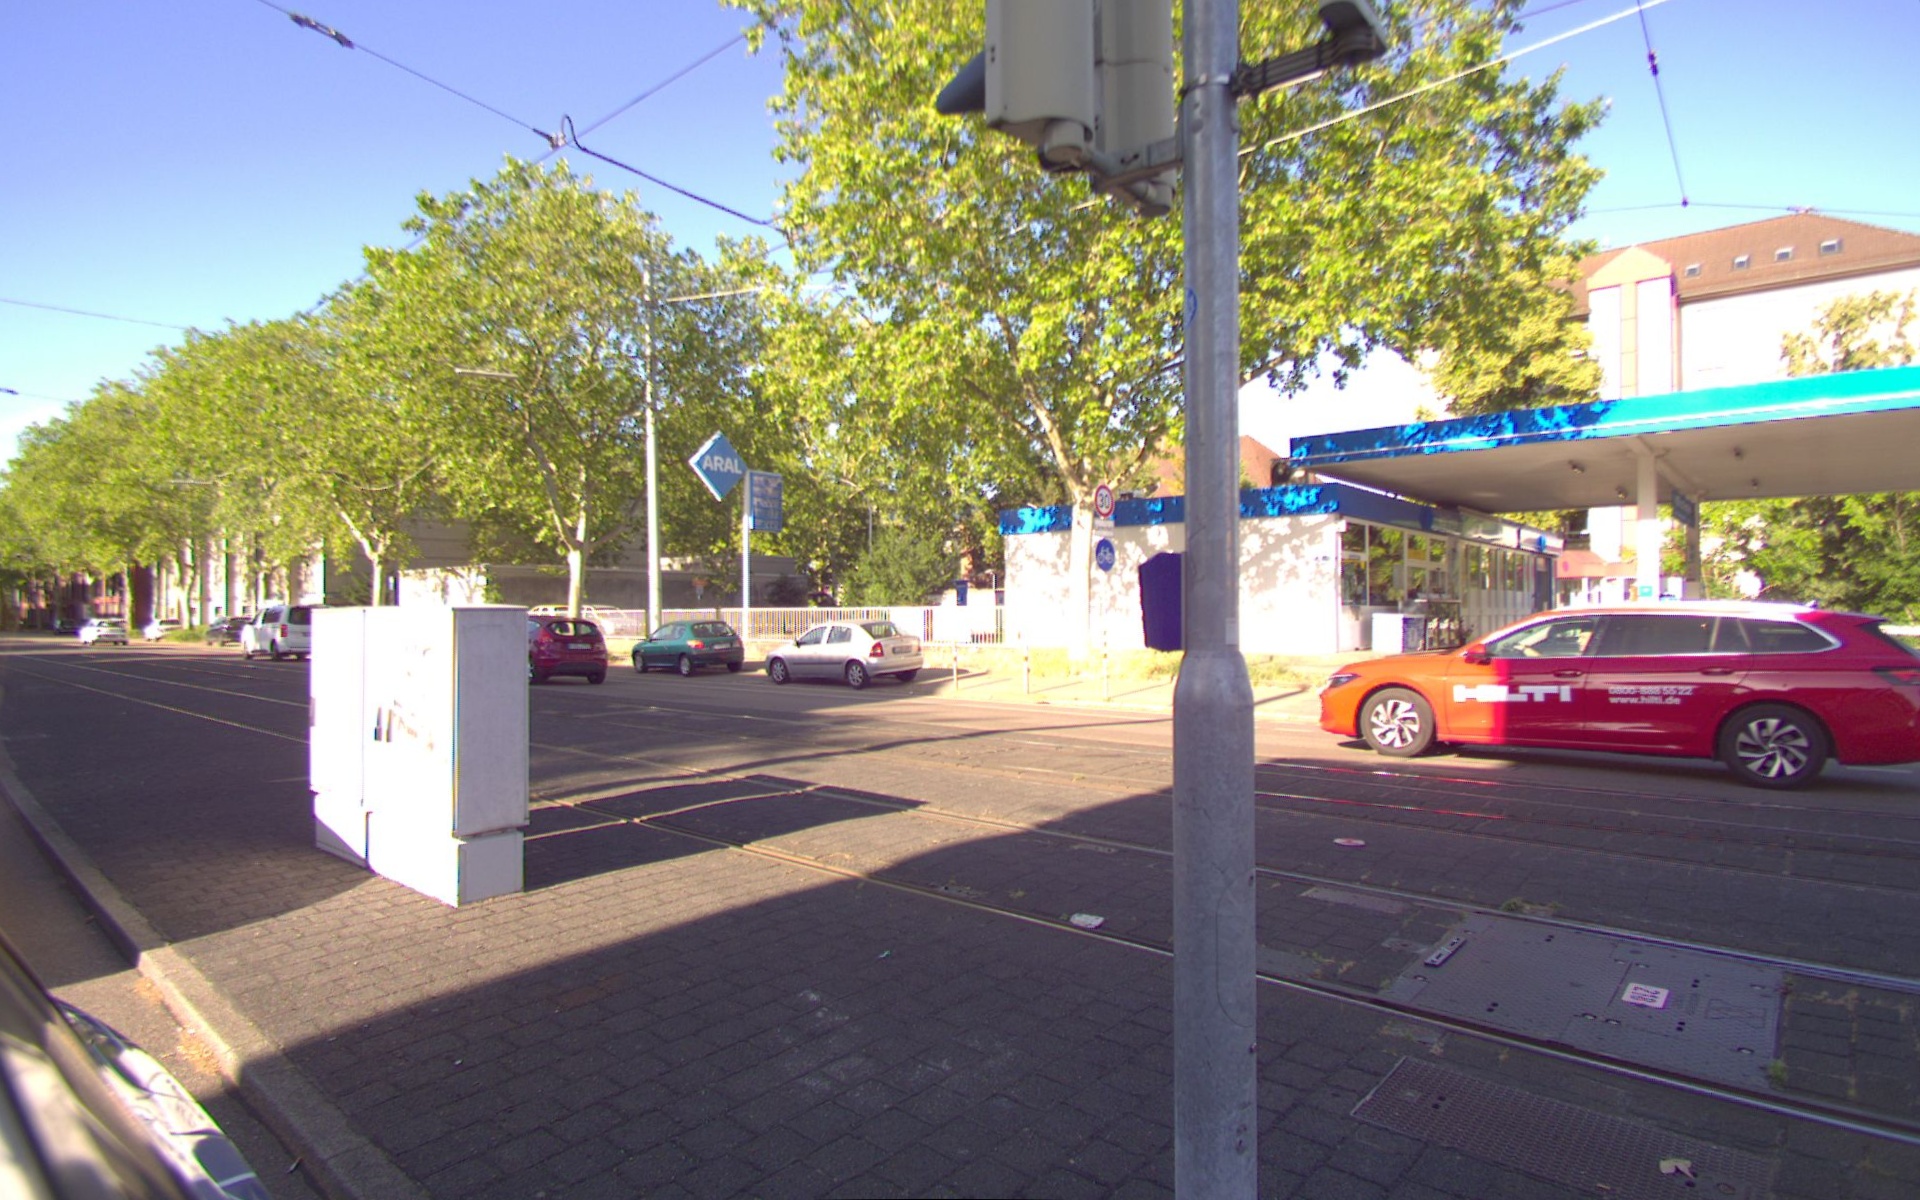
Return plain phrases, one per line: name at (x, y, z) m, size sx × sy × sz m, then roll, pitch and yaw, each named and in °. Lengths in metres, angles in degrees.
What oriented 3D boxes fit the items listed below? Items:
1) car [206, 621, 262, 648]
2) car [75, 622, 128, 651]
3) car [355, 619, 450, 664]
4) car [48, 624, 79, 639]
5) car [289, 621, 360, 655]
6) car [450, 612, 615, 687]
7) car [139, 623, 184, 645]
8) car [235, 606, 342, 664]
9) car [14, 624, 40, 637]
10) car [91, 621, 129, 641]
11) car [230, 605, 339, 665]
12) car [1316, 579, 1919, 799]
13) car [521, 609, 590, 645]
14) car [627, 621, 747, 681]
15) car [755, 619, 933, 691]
car at (-40.602, 1.891, 56.578) m, size 3.998 × 1.420 × 1.678 m, roll -1°, pitch -2°, yaw 41°
car at (-48.969, 2.055, 57.702) m, size 3.998 × 1.507 × 1.741 m, roll -1°, pitch 0°, yaw 41°
car at (-22.153, 1.595, 40.169) m, size 4.431 × 1.534 × 1.731 m, roll -1°, pitch 3°, yaw 40°
car at (-85.183, 2.978, 96.167) m, size 3.998 × 1.420 × 1.678 m, roll -1°, pitch -2°, yaw 41°
car at (-29.044, 1.703, 46.197) m, size 3.998 × 1.480 × 1.678 m, roll -1°, pitch -2°, yaw 41°
car at (-9.460, 1.063, 22.277) m, size 3.998 × 1.431 × 1.678 m, roll -1°, pitch -6°, yaw 41°
car at (-53.811, 2.294, 68.202) m, size 3.998 × 1.420 × 1.678 m, roll -1°, pitch -2°, yaw 41°
car at (-23.072, 1.175, 34.732) m, size 4.390 × 1.860 × 1.827 m, roll -1°, pitch -2°, yaw 39°
car at (-103.230, 3.394, 111.976) m, size 3.998 × 1.420 × 1.678 m, roll -1°, pitch -2°, yaw 41°
car at (-66.813, 2.418, 79.550) m, size 3.998 × 1.569 × 1.678 m, roll -1°, pitch -2°, yaw 41°
car at (-23.392, 1.253, 34.966) m, size 5.111 × 1.889 × 1.863 m, roll -4°, pitch -2°, yaw 41°
car at (5.916, 0.678, 9.144) m, size 4.765 × 1.534 × 1.886 m, roll -1°, pitch -3°, yaw 43°
car at (-16.829, 1.099, 42.047) m, size 3.151 × 1.431 × 1.525 m, roll -1°, pitch 0°, yaw 44°
car at (-7.263, 1.303, 26.790) m, size 3.253 × 1.431 × 1.526 m, roll -1°, pitch 0°, yaw 41°
car at (-2.660, 1.166, 22.674) m, size 3.998 × 1.431 × 1.709 m, roll -1°, pitch 0°, yaw 41°
